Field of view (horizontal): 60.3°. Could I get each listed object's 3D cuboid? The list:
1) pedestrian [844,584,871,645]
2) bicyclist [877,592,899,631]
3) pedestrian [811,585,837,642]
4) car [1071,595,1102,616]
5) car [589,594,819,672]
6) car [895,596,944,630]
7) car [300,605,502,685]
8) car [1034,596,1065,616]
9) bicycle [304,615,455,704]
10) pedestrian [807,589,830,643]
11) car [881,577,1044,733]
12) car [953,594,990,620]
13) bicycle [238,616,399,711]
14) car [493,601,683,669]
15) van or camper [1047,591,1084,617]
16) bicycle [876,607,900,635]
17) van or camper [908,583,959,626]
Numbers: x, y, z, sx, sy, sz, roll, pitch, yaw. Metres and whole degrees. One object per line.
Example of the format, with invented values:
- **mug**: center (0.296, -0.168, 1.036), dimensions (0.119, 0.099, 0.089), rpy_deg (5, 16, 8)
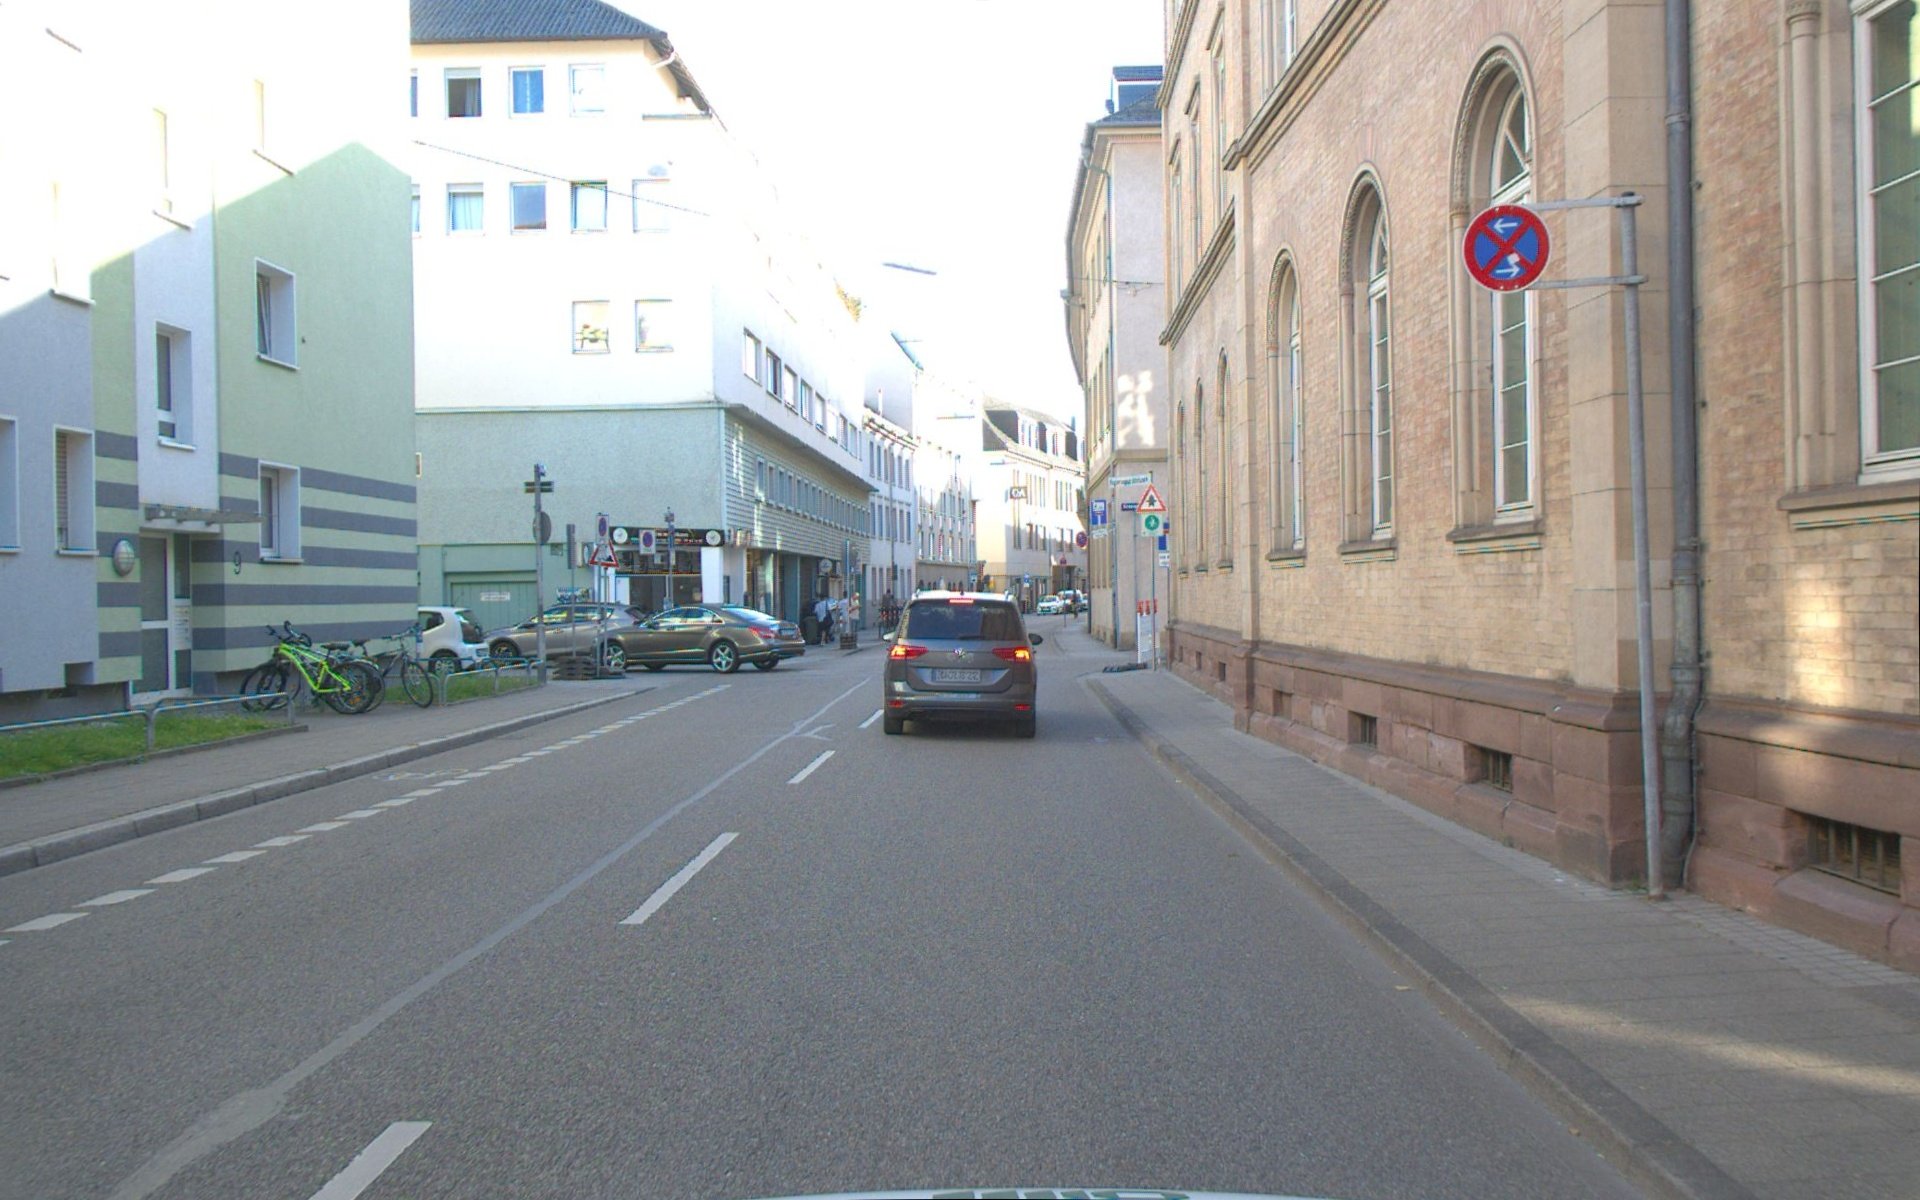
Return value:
- **pedestrian**: center (-3.158, 0.448, 50.959), dimensions (0.544, 1.861, 0.730), rpy_deg (-1, 0, 24)
- **bicyclist**: center (-2.986, 0.486, 68.685), dimensions (0.813, 1.589, 0.760), rpy_deg (-1, 0, 2)
- **pedestrian**: center (-4.488, 0.438, 54.513), dimensions (0.544, 1.861, 0.730), rpy_deg (-1, 0, 24)
- **car**: center (10.829, 0.439, 141.493), dimensions (1.787, 1.756, 4.002), rpy_deg (-1, 0, 18)
- **car**: center (-5.488, 0.704, 35.461), dimensions (4.521, 1.568, 1.999), rpy_deg (-1, 0, 24)
- **car**: center (-1.852, 0.598, 77.465), dimensions (1.826, 1.494, 3.836), rpy_deg (-1, 0, 6)
- **car**: center (-11.324, 0.891, 33.660), dimensions (3.427, 1.468, 1.814), rpy_deg (-1, 0, 2)
- **car**: center (7.030, 0.483, 129.522), dimensions (1.697, 1.493, 4.003), rpy_deg (-1, 0, 15)
- **bicycle**: center (-8.233, 0.839, 23.506), dimensions (1.893, 1.200, 0.612), rpy_deg (2, -1, -8)
- **pedestrian**: center (-4.897, 0.545, 57.139), dimensions (0.713, 1.861, 0.557), rpy_deg (-1, 0, 1)
- **car**: center (0.053, 0.594, 19.989), dimensions (1.726, 1.635, 4.000), rpy_deg (2, 0, 1)
- **car**: center (0.725, 0.422, 99.351), dimensions (1.826, 1.494, 3.836), rpy_deg (-1, 0, 6)
- **bicycle**: center (-8.521, 0.846, 22.039), dimensions (1.897, 1.200, 0.611), rpy_deg (2, -1, -15)
- **car**: center (-8.844, 0.818, 39.500), dimensions (4.012, 1.468, 1.948), rpy_deg (-1, 0, 2)
- **van or camper**: center (8.626, 0.292, 135.234), dimensions (1.951, 2.049, 5.001), rpy_deg (-1, 0, 17)
- **bicycle**: center (-2.981, 0.866, 68.633), dimensions (0.813, 1.073, 2.550), rpy_deg (-1, 0, 2)
- **van or camper**: center (-1.313, 0.217, 83.194), dimensions (1.951, 2.049, 4.486), rpy_deg (-1, 0, 7)
